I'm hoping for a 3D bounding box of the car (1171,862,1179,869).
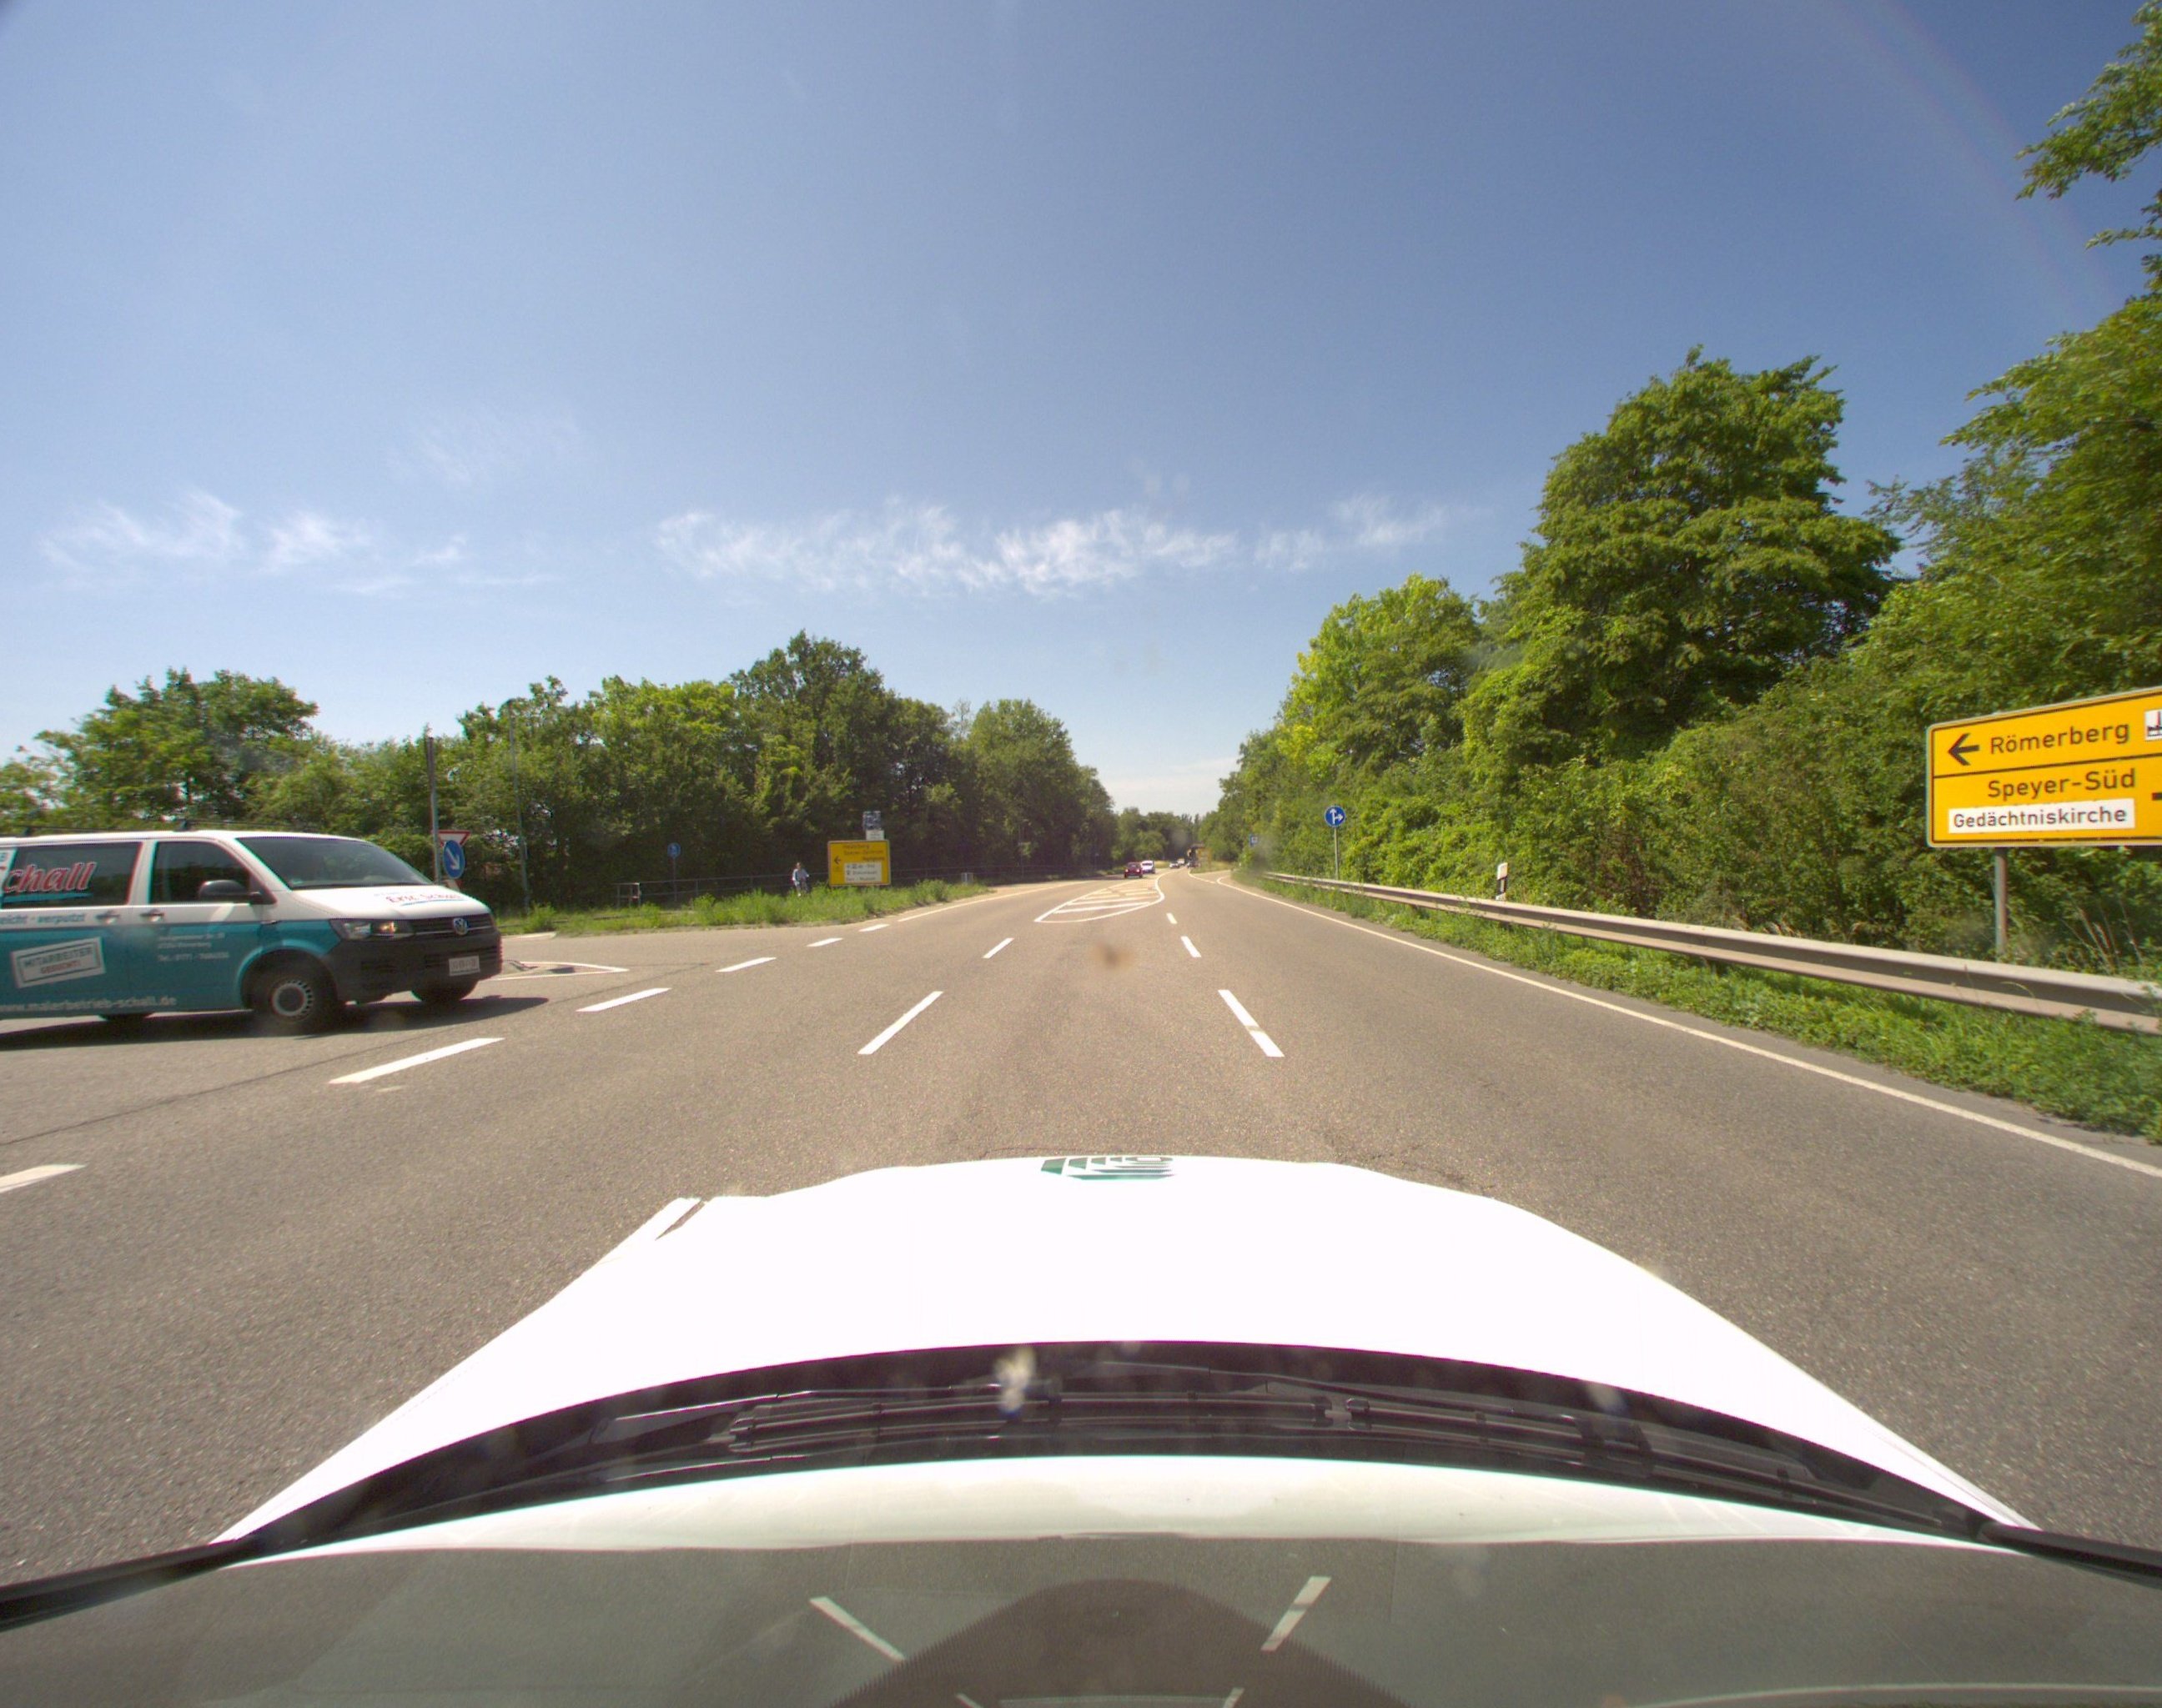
[{"bbox_3d":[20.633,2.566,179.405,1.668,1.527,4.008,-2,0,7],"label":"car"}]

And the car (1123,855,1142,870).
[{"bbox_3d":[11.355,1.943,178.424,2.004,3.226,4.767,-1,0,-26],"label":"car"}]

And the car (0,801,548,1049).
[{"bbox_3d":[-8.712,0.674,8.265,5.155,2.027,2.000,-3,0,-1],"label":"car"}]

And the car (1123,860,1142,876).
[{"bbox_3d":[5.027,1.336,80.046,1.803,1.458,3.759,-1,0,2],"label":"car"}]

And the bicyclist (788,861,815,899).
[{"bbox_3d":[-10.220,0.955,29.749,0.601,1.363,0.694,-2,-1,36],"label":"bicyclist"}]

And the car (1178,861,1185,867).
[{"bbox_3d":[27.374,2.688,221.570,1.710,1.528,3.718,-2,0,9],"label":"car"}]

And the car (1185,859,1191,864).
[{"bbox_3d":[34.318,2.371,260.401,1.710,1.509,3.718,-2,0,9],"label":"car"}]

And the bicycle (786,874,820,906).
[{"bbox_3d":[-10.183,1.317,29.786,1.463,1.113,0.439,-2,-1,38],"label":"bicycle"}]

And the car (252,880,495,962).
[{"bbox_3d":[-14.779,1.376,17.118,3.764,1.457,1.729,-3,0,7],"label":"car"}]

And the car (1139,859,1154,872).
[{"bbox_3d":[9.042,1.559,111.827,1.984,1.730,4.281,-2,0,6],"label":"car"}]

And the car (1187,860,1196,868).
[{"bbox_3d":[24.595,2.288,181.634,1.834,1.684,4.007,-1,0,6],"label":"car"}]
